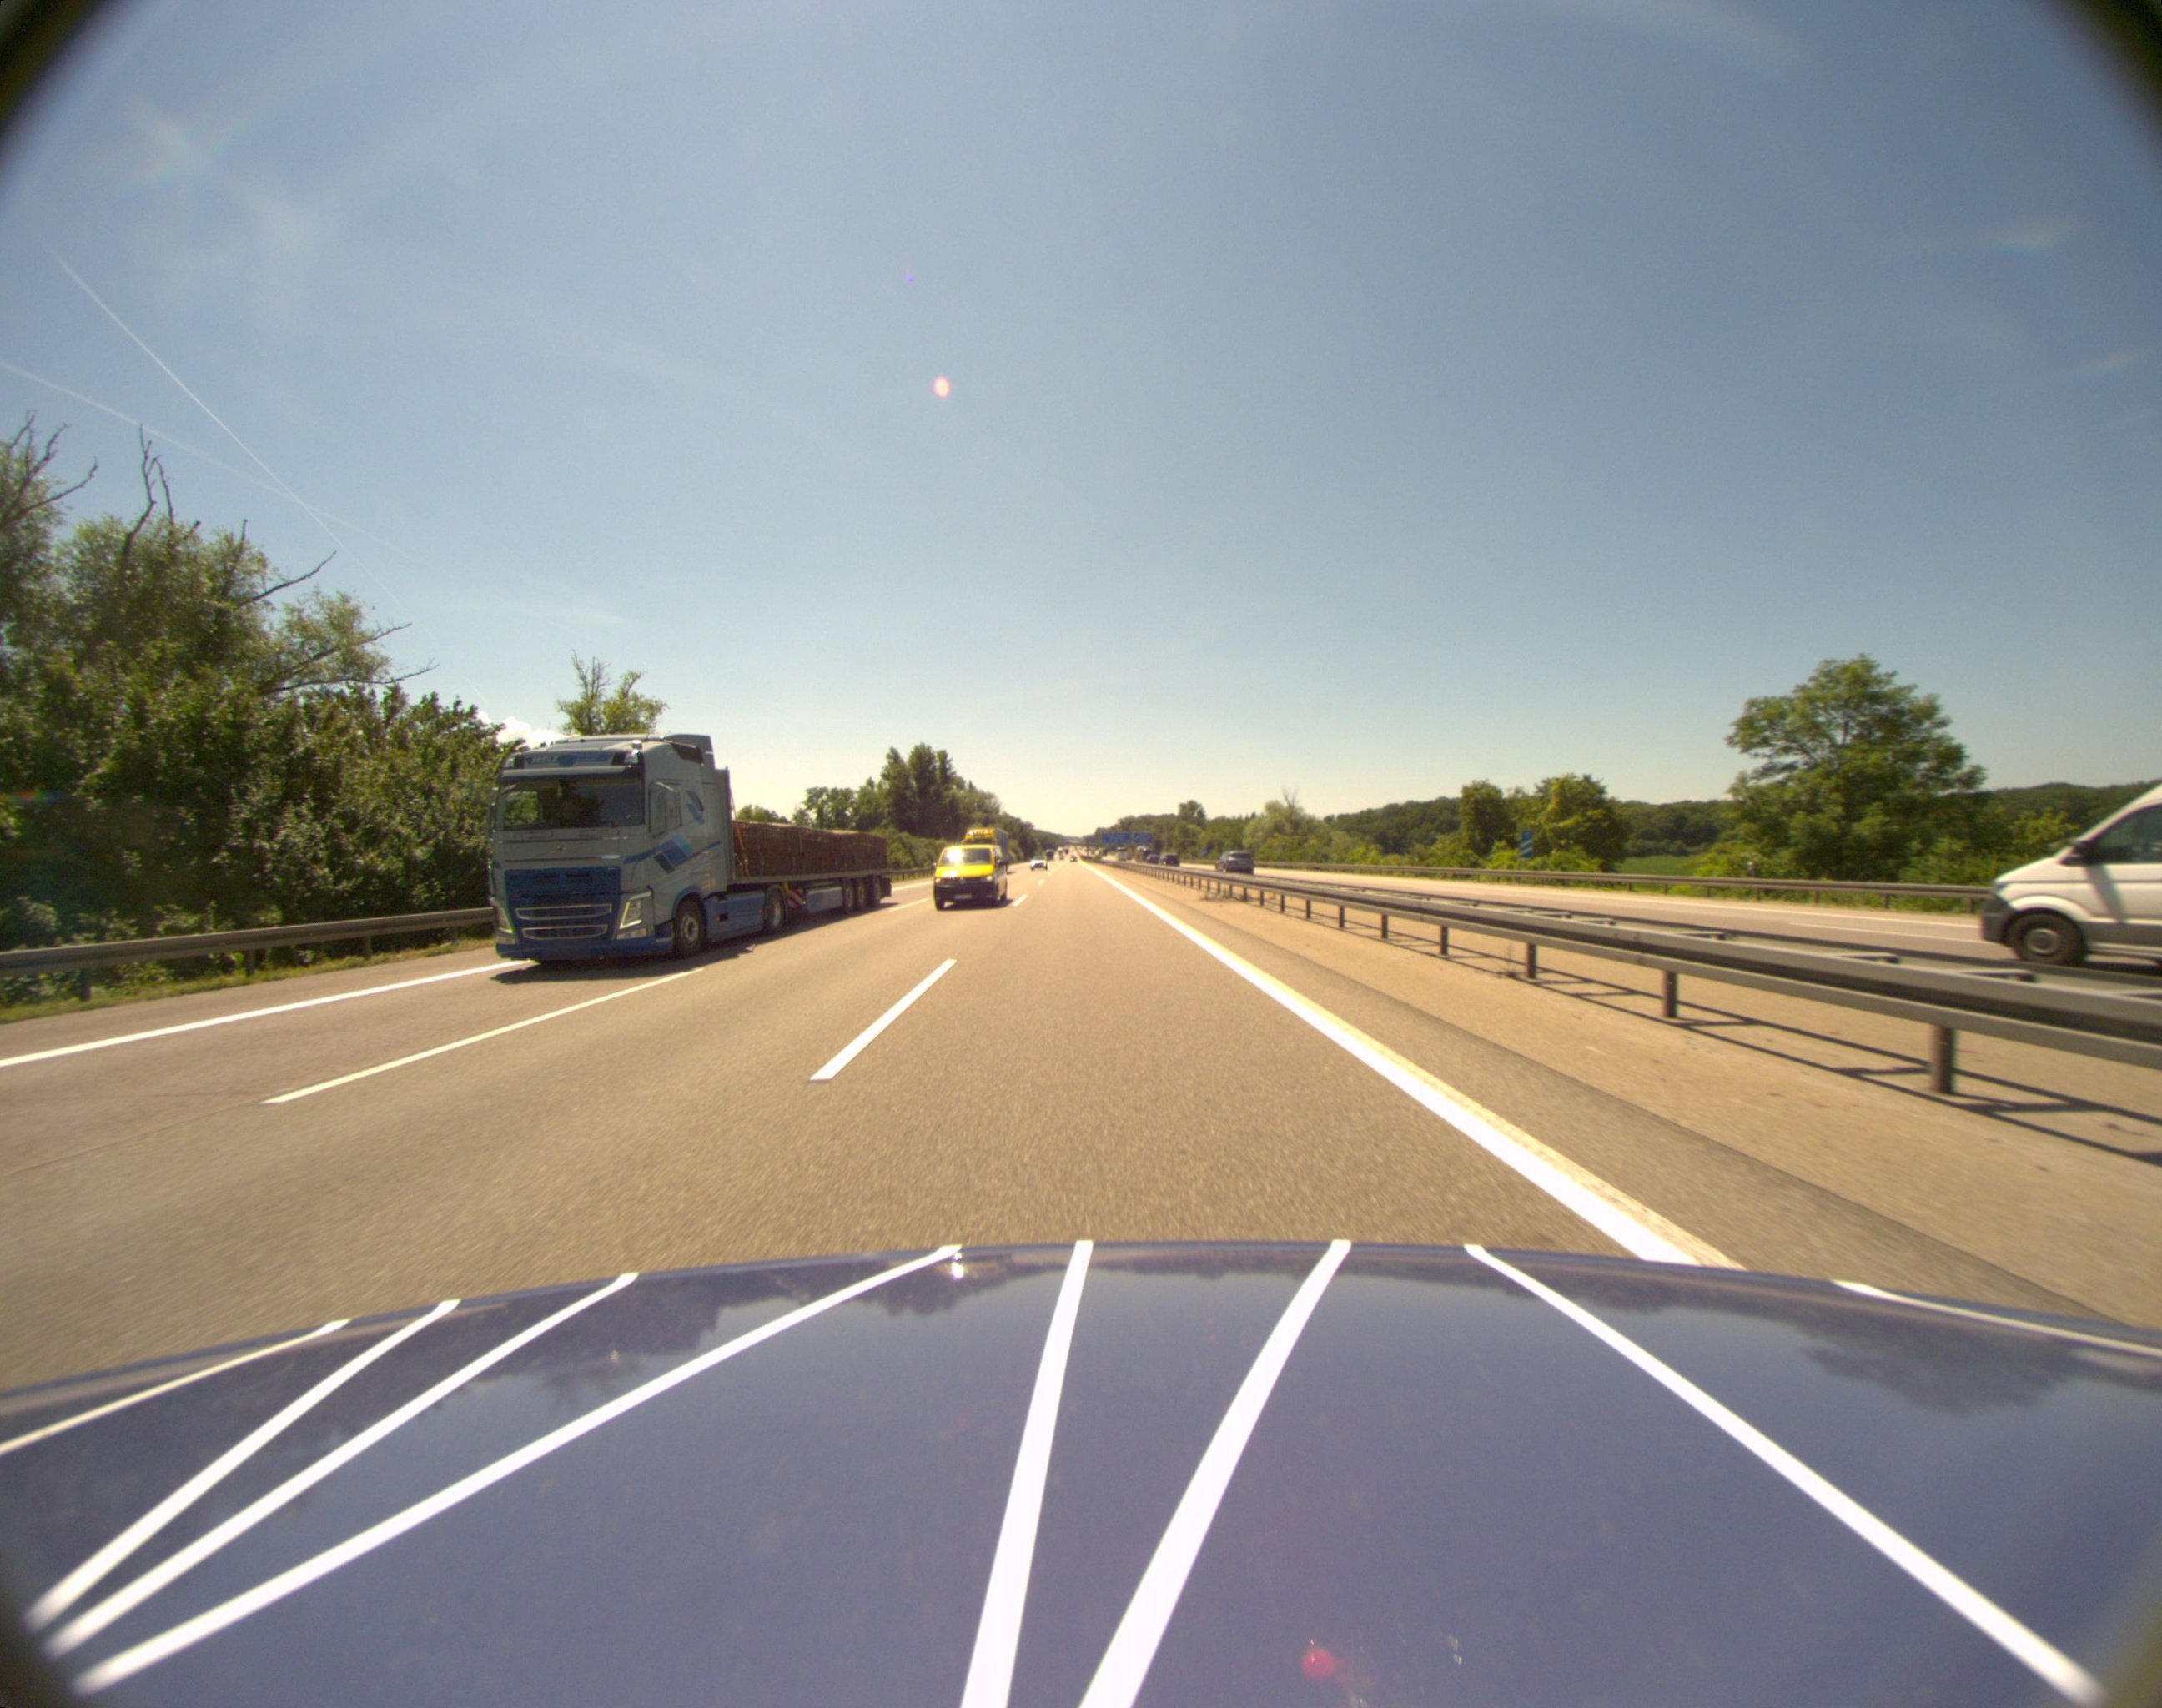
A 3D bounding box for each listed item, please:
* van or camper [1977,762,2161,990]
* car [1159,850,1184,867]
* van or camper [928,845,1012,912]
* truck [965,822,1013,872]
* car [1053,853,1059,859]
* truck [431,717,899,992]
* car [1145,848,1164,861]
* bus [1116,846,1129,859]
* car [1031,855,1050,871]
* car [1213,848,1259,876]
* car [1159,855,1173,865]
[{"bbox_3d":[13.115,0.277,6.667,1.999,2.551,7.033,1,0,-2],"label":"van or camper"},{"bbox_3d":[9.212,0.402,77.626,1.999,1.680,4.407,-1,0,-1],"label":"car"},{"bbox_3d":[-3.459,0.709,24.646,1.999,1.898,4.970,-2,0,-1],"label":"van or camper"},{"bbox_3d":[-8.511,-0.693,72.539,2.852,4.233,16.786,-1,1,-1],"label":"truck"},{"bbox_3d":[-8.644,0.618,259.206,1.999,2.002,3.999,-1,0,-2],"label":"car"},{"bbox_3d":[-8.091,-0.090,19.493,2.977,3.934,16.608,-2,1,-1],"label":"truck"},{"bbox_3d":[9.538,0.103,98.618,1.999,1.595,4.599,-2,0,-1],"label":"car"},{"bbox_3d":[11.490,-0.379,210.464,2.701,3.563,12.791,1,0,-1],"label":"bus"},{"bbox_3d":[-4.437,1.006,83.986,1.845,1.565,3.999,-2,1,0],"label":"car"},{"bbox_3d":[9.712,0.465,47.905,1.999,1.680,4.407,0,0,-1],"label":"car"},{"bbox_3d":[16.455,1.164,147.951,1.999,1.861,4.580,2,0,-2],"label":"car"}]
